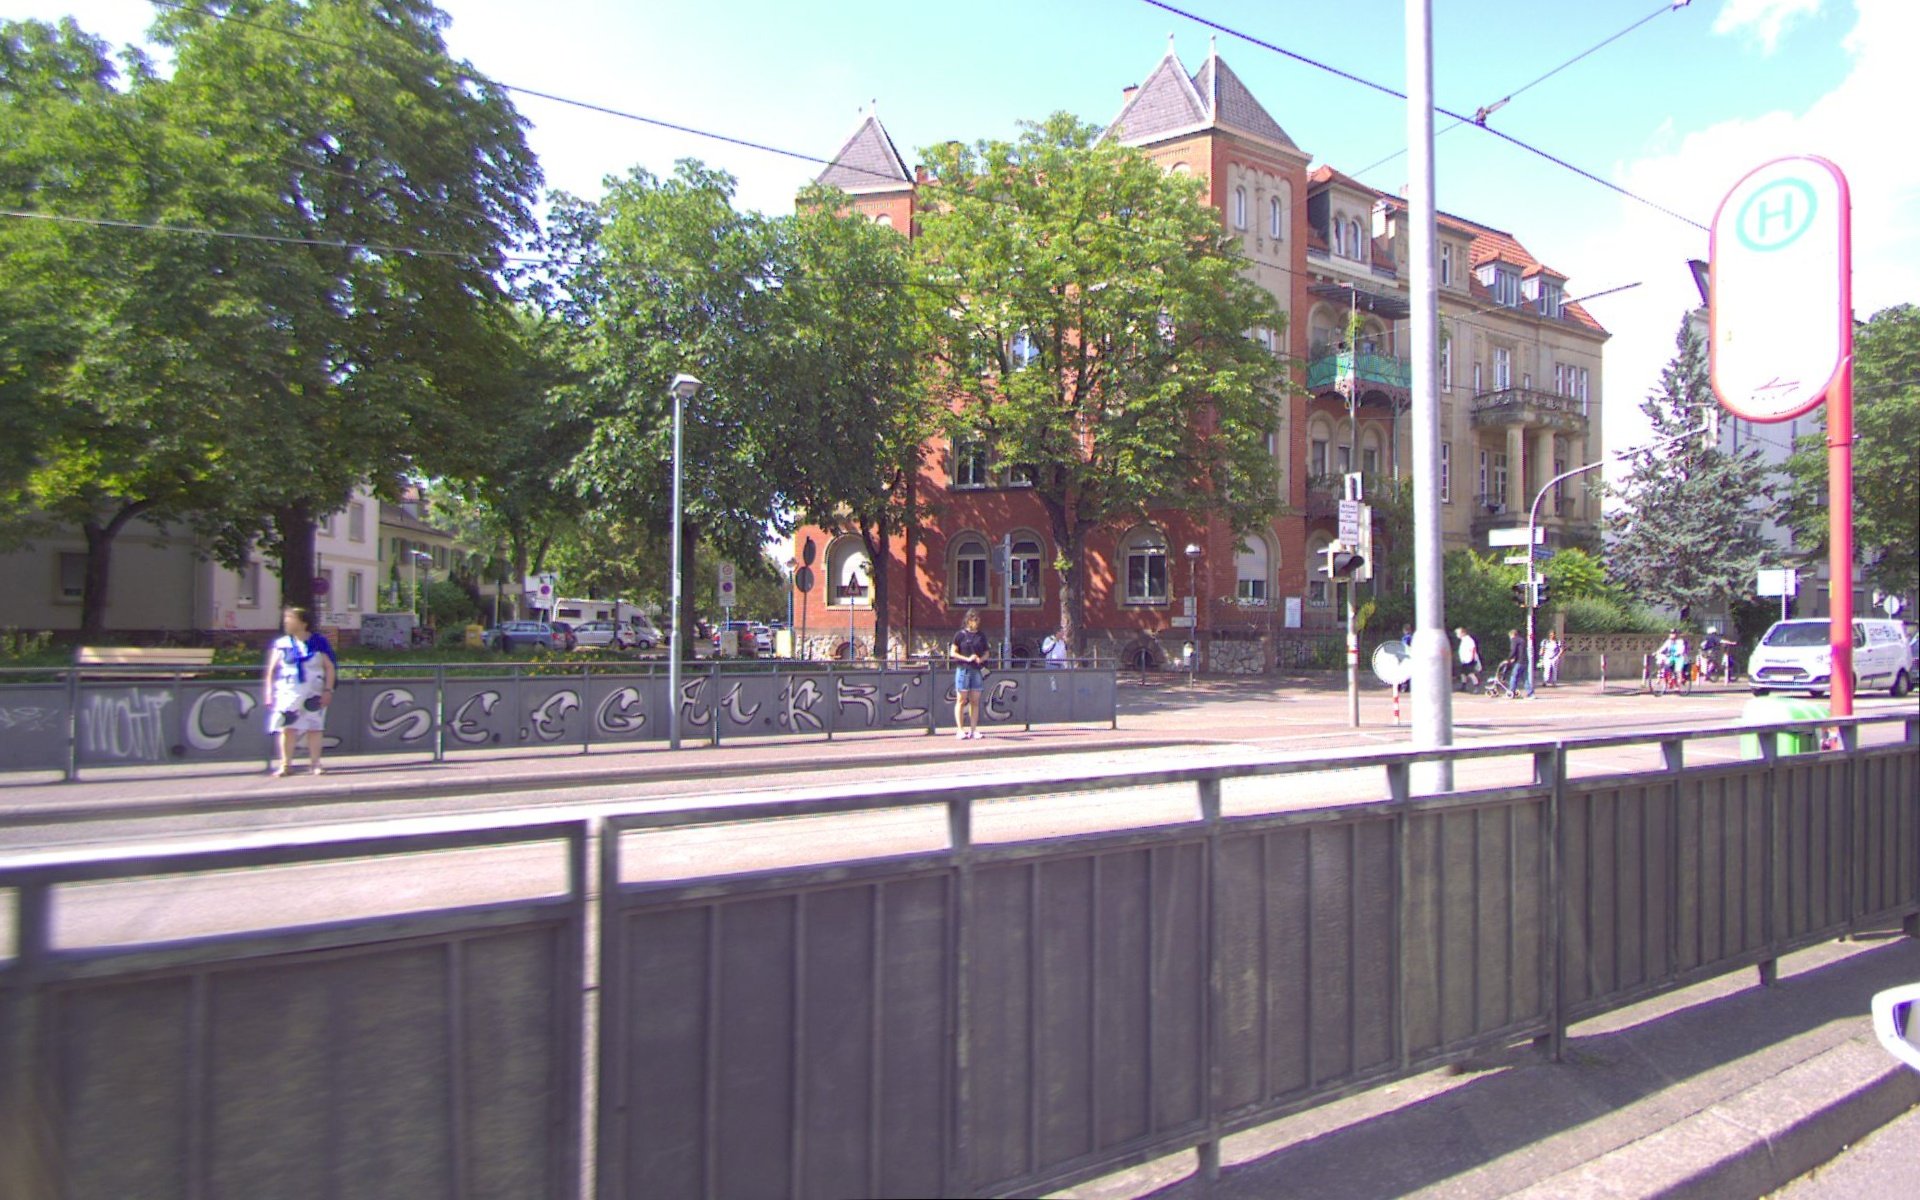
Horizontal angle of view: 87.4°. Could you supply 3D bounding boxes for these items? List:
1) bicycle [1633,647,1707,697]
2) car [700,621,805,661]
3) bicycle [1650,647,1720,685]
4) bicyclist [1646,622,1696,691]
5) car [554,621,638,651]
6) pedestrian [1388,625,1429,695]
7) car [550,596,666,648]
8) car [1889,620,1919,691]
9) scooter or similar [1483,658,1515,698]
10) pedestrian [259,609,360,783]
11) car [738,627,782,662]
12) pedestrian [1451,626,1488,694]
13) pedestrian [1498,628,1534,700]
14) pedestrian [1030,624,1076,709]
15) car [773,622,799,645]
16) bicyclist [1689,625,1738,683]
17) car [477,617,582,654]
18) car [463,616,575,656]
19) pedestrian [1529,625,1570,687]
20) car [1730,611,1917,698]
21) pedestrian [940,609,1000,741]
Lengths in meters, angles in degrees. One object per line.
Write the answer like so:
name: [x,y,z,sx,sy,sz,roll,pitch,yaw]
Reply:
bicycle: [18.455,1.847,26.110,1.933,1.175,0.841,1,2,-31]
car: [-8.809,1.749,42.744,3.953,1.572,1.984,2,0,-30]
bicycle: [21.243,1.915,29.420,1.839,0.945,0.993,1,2,-31]
bicyclist: [18.429,1.456,26.047,0.665,1.718,0.833,2,0,-31]
car: [-21.107,2.106,58.396,4.237,1.697,1.998,1,-1,-7]
pedestrian: [11.386,1.501,25.485,0.843,1.721,0.617,2,0,-42]
car: [-22.822,1.462,65.337,6.738,3.291,2.171,1,-1,-8]
car: [28.891,1.595,28.715,5.062,1.942,1.919,2,-3,-29]
scooter or similar: [13.213,1.906,24.632,0.496,0.934,0.542,2,0,-43]
pedestrian: [-5.907,0.860,9.154,0.695,1.523,0.426,2,-3,-30]
car: [-11.167,2.471,56.184,1.962,1.728,3.996,2,0,-6]
pedestrian: [13.063,1.529,25.727,0.721,1.679,0.605,0,1,-43]
pedestrian: [13.486,1.539,24.373,0.747,1.679,0.515,2,0,-43]
pedestrian: [1.951,1.387,21.083,0.843,1.721,0.460,2,0,-42]
car: [-15.883,3.041,91.772,1.962,1.974,3.996,2,0,-6]
bicyclist: [22.812,1.628,30.412,0.694,1.666,0.945,2,0,-30]
car: [-20.293,1.673,47.503,4.242,1.697,1.995,1,-1,-13]
car: [-19.674,1.613,45.027,4.242,1.697,1.995,1,-1,-13]
pedestrian: [16.485,1.567,28.101,0.802,1.679,0.520,2,0,-9]
car: [21.974,1.385,25.527,5.027,2.021,1.985,2,-2,-29]
pedestrian: [0.118,0.898,12.321,0.510,1.562,0.534,-1,-1,-30]
